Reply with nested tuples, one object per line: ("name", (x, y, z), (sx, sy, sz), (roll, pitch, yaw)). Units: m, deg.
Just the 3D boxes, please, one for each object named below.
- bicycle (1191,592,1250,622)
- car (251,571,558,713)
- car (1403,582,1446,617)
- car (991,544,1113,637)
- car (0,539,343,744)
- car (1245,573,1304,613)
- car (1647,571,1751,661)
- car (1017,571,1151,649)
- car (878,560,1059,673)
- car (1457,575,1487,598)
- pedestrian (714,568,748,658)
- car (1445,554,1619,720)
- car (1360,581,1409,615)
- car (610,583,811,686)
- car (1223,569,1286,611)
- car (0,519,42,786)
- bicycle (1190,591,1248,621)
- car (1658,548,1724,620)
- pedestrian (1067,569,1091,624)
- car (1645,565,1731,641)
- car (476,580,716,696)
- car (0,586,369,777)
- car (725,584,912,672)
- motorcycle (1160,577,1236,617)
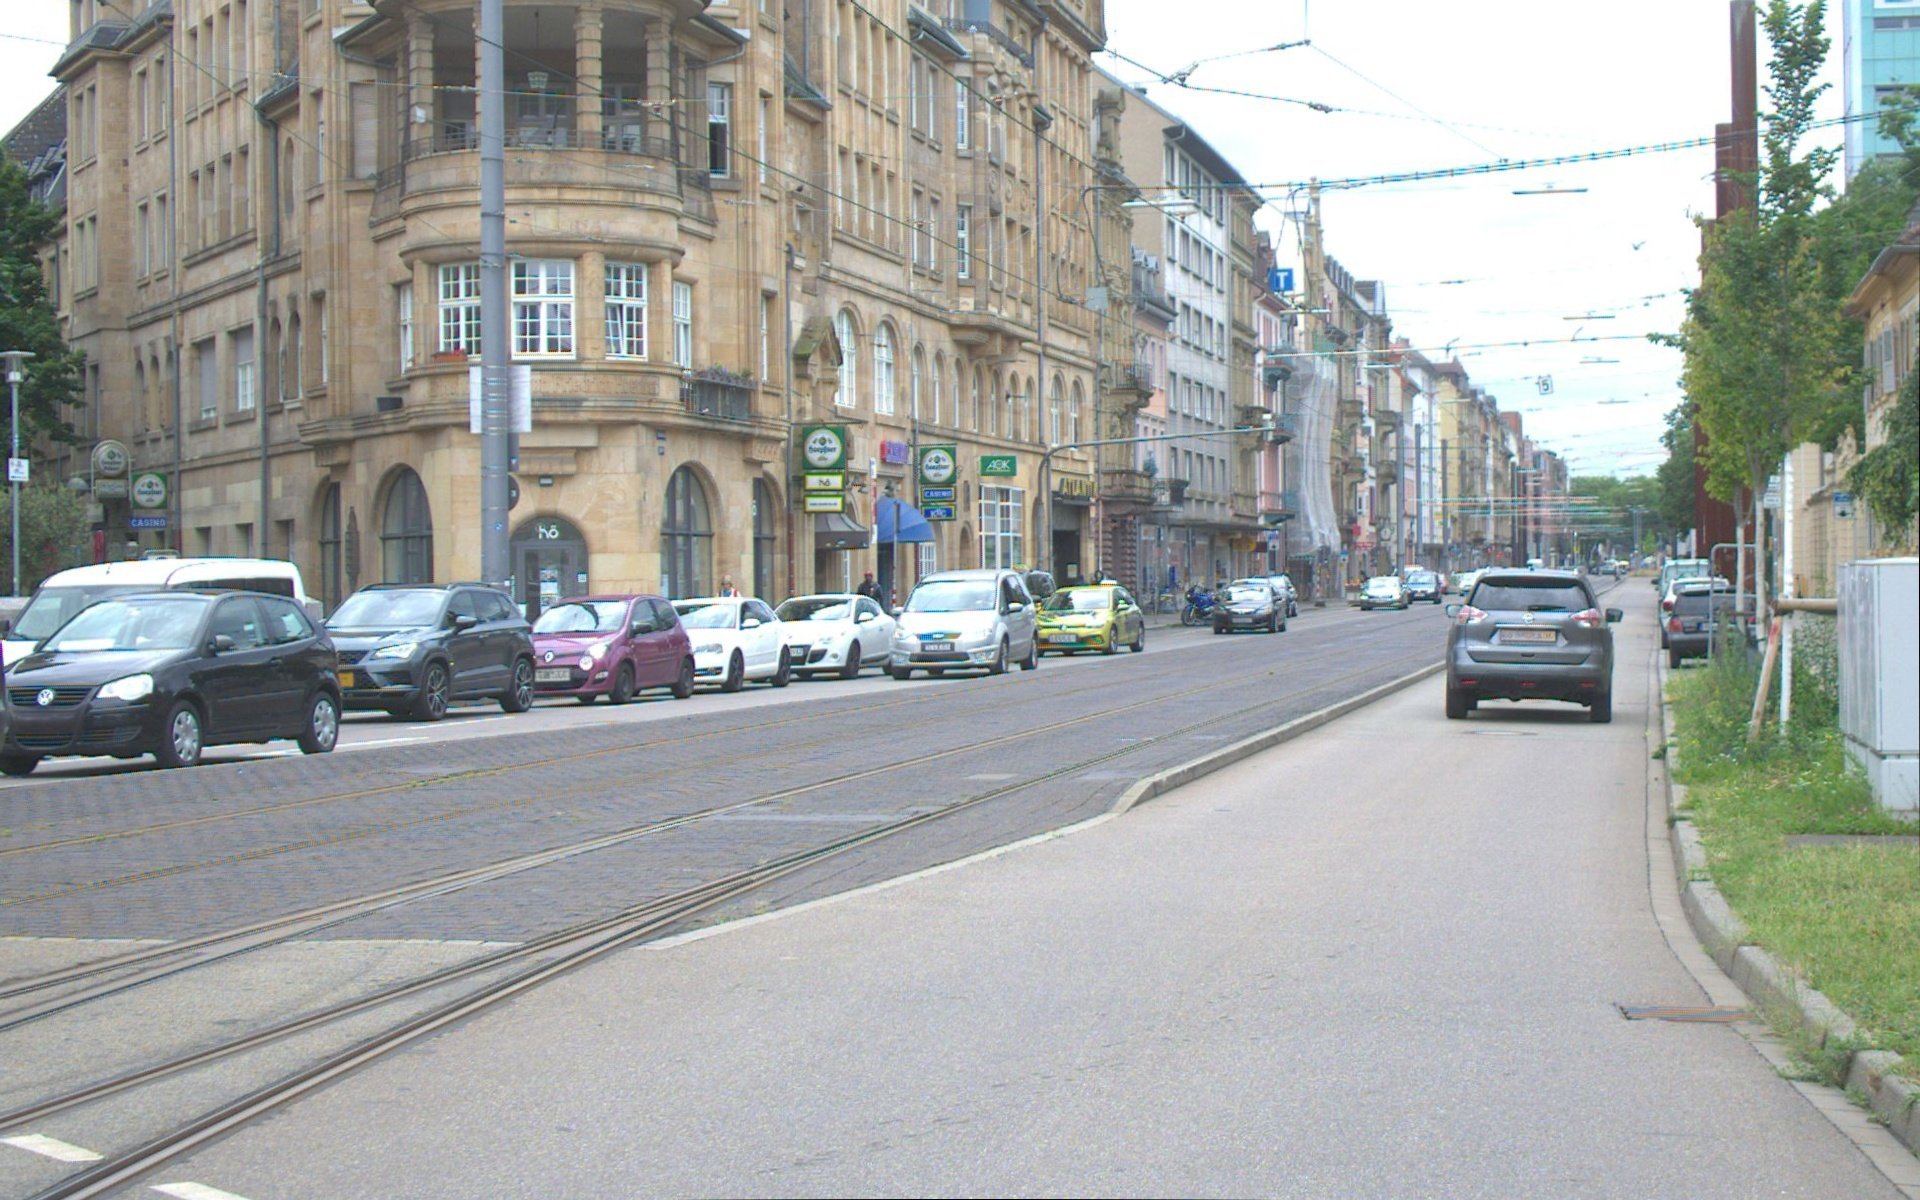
("bicycle", (8.755, 0.229, 115.408), (1.966, 0.998, 0.463), (0, 0, 4))
("car", (-6.479, 0.458, 40.567), (1.864, 1.529, 4.299), (-2, 0, 16))
("car", (22.922, -0.046, 169.495), (1.760, 1.666, 4.612), (0, 0, 12))
("car", (2.139, -0.241, 78.593), (1.900, 1.970, 5.095), (-3, 0, 11))
("car", (-8.230, 0.361, 34.716), (1.864, 1.909, 5.097), (0, 0, 16))
("car", (11.955, -0.280, 130.476), (1.777, 1.499, 4.399), (0, 0, 11))
("car", (12.903, 0.257, 60.198), (1.638, 1.429, 3.929), (-3, 0, 11))
("car", (2.623, 0.188, 71.937), (1.900, 1.506, 4.425), (-2, 0, 14))
("car", (0.196, 0.228, 55.627), (1.864, 1.700, 4.906), (-2, 0, 13))
("car", (32.281, -0.852, 216.765), (1.688, 1.415, 4.133), (0, 0, 11))
("pedestrian", (-4.364, 0.242, 65.587), (0.630, 1.713, 0.533), (0, 0, -3))
("car", (6.554, 0.380, 39.134), (1.750, 1.750, 3.921), (2, 1, 12))
("car", (18.511, -0.090, 149.812), (1.760, 1.444, 4.612), (0, 0, 12))
("car", (-3.678, 0.483, 51.372), (1.747, 1.375, 4.360), (-3, 0, 13))
("car", (10.665, -0.375, 124.251), (1.777, 1.499, 4.399), (0, 0, 11))
("car", (-8.042, 0.387, 22.981), (1.690, 1.894, 4.383), (-1, 0, 15))
("bicycle", (8.627, 0.201, 114.674), (1.922, 0.998, 0.463), (0, 0, 4))
("car", (22.867, -0.507, 107.710), (1.852, 2.108, 4.982), (-3, 0, 11))
("pedestrian", (3.458, -0.094, 100.113), (0.568, 1.592, 0.718), (0, 0, 11))
("car", (16.213, 0.043, 76.677), (1.756, 1.569, 3.929), (-3, 0, 11))
("car", (-4.806, 0.480, 45.928), (1.864, 1.394, 3.892), (-2, 0, 15))
("car", (-6.507, 0.619, 28.319), (1.690, 1.437, 3.997), (-1, 0, 15))
("car", (-2.285, 0.436, 56.664), (1.928, 1.375, 4.255), (0, 1, 14))
("motorcycle", (7.777, -0.102, 112.491), (2.336, 1.298, 0.883), (-1, 0, -25))
